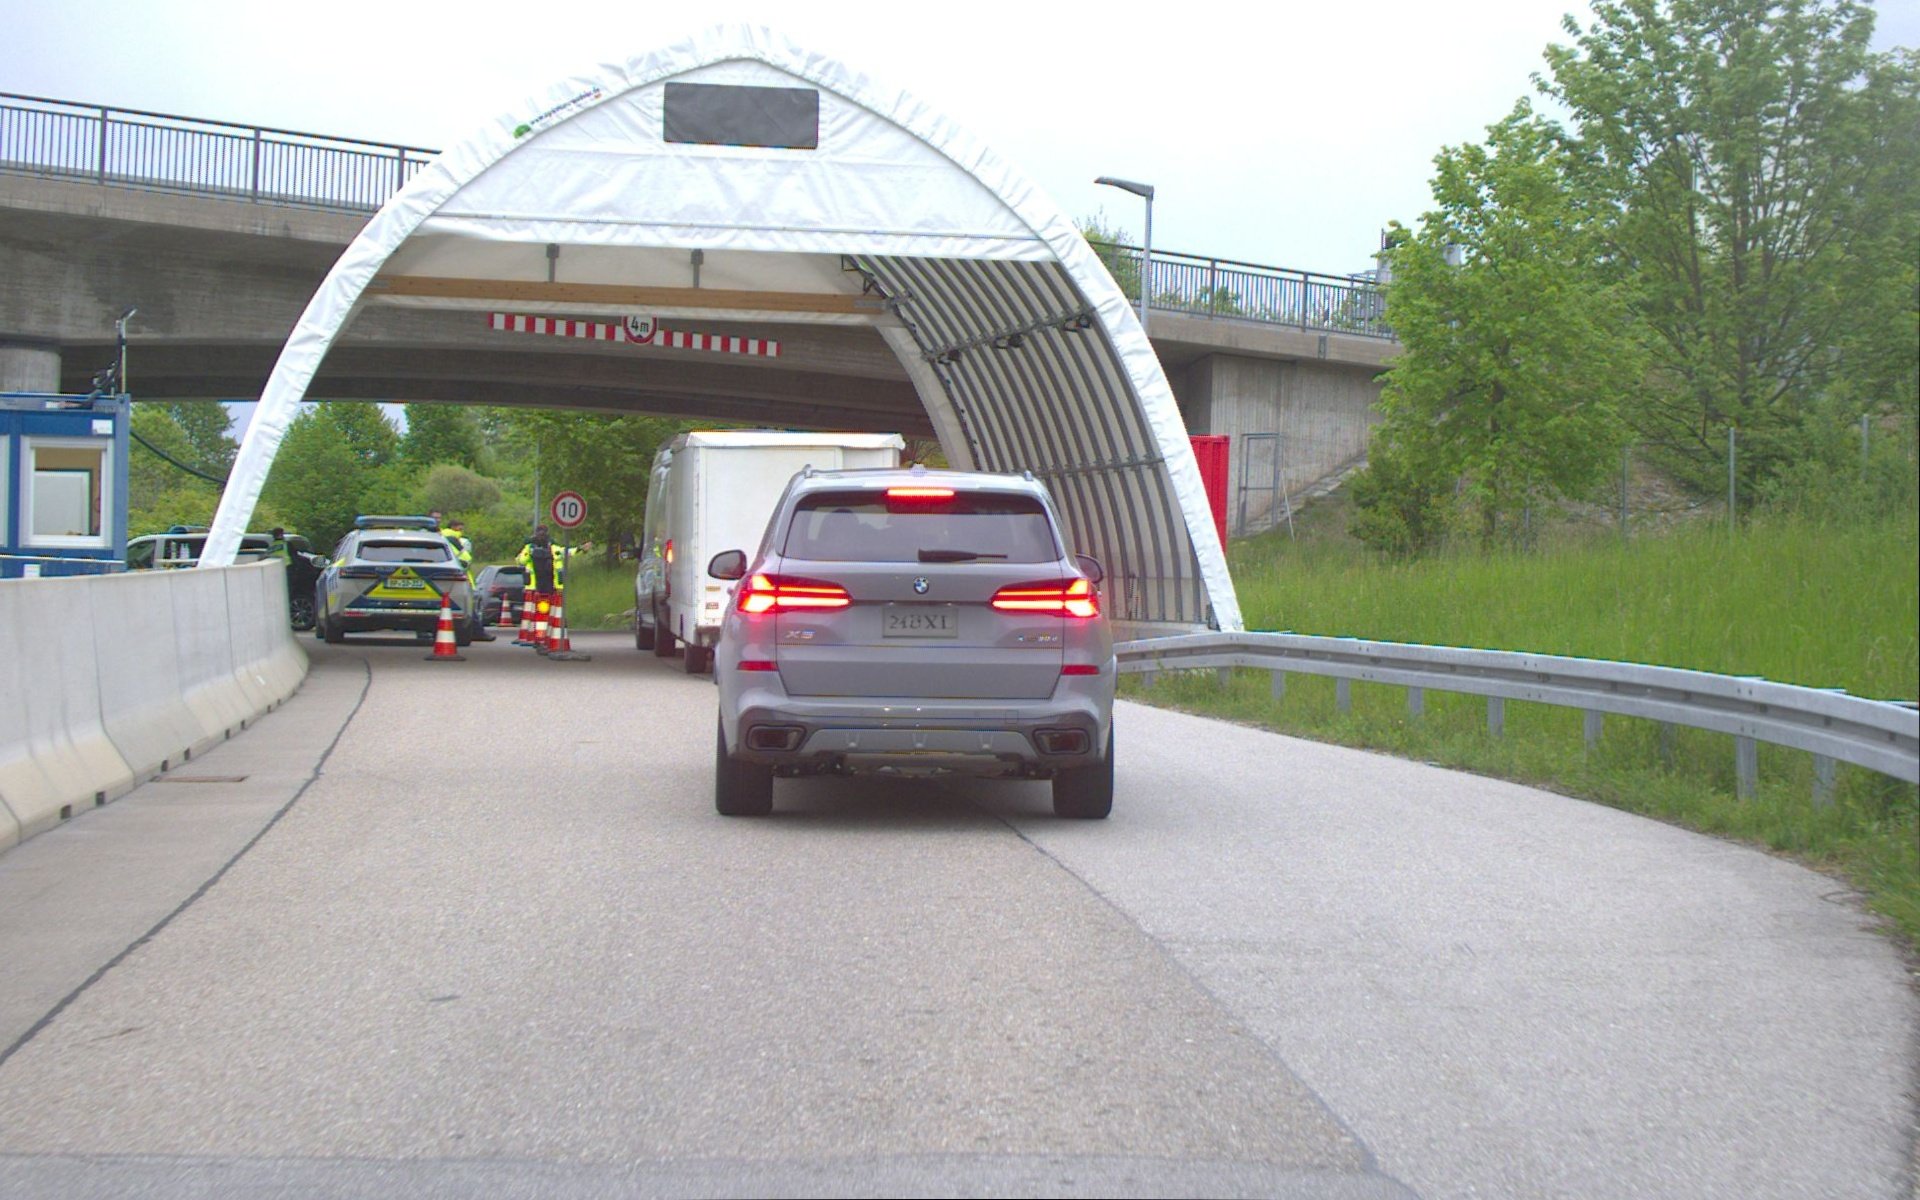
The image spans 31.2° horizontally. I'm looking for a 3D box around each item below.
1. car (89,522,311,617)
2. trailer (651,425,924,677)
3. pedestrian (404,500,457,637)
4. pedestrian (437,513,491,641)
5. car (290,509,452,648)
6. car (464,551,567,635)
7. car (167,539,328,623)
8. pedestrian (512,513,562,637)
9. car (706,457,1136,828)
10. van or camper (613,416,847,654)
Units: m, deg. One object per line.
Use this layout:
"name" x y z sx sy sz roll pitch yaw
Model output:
"car" -15.061 -0.608 68.216 3.987 1.848 1.709 0 1 4
"trailer" -1.973 -0.465 36.858 2.278 2.422 6.819 1 0 -8
"pedestrian" -7.587 -0.452 49.273 0.720 1.939 0.690 0 0 -11
"pedestrian" -6.945 -0.320 48.119 0.720 1.769 0.690 0 0 -11
"car" -7.860 -0.290 45.643 1.993 1.766 3.766 0 1 -12
"car" -10.096 -0.170 77.878 1.703 1.848 4.001 0 1 -16
"car" -12.580 -0.349 60.621 1.515 1.437 3.315 0 1 -37
"pedestrian" -6.098 -0.358 49.515 0.648 1.769 0.606 0 0 -13
"car" -0.277 0.190 18.088 1.993 1.714 4.000 1 0 -3
"van or camper" -2.977 -0.755 43.128 2.156 2.754 5.873 1 0 -11
